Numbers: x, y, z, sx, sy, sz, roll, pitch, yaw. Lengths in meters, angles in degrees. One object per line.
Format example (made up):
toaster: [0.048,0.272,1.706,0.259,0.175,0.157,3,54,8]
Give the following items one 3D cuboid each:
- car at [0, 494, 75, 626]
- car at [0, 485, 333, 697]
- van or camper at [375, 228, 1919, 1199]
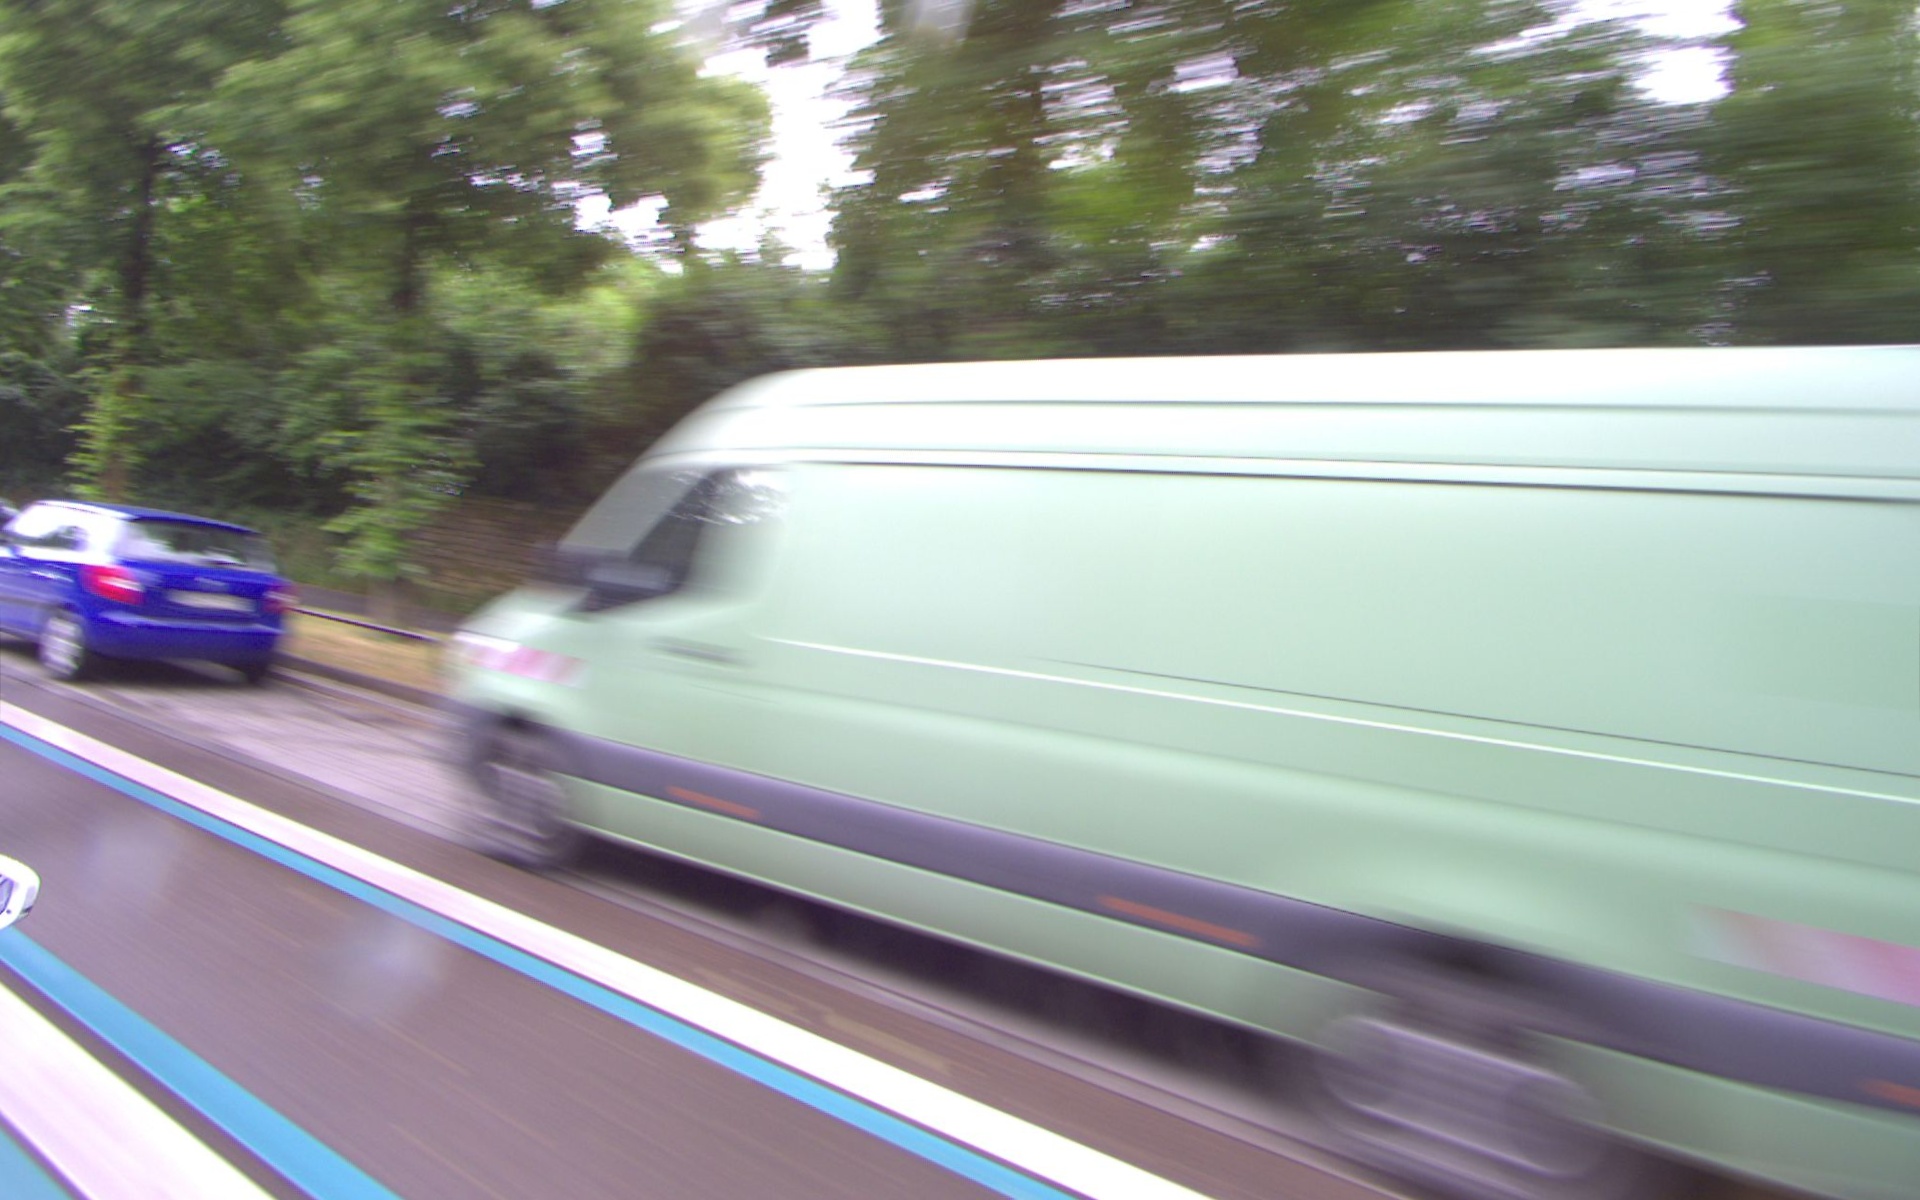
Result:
car: [-12.905,-0.724,12.342,4.075,1.472,1.690,7,-1,29]
car: [-7.991,-0.145,9.622,3.770,1.531,1.690,7,-1,30]
van or camper: [0.434,0.238,4.700,6.782,2.761,2.047,7,-1,29]
